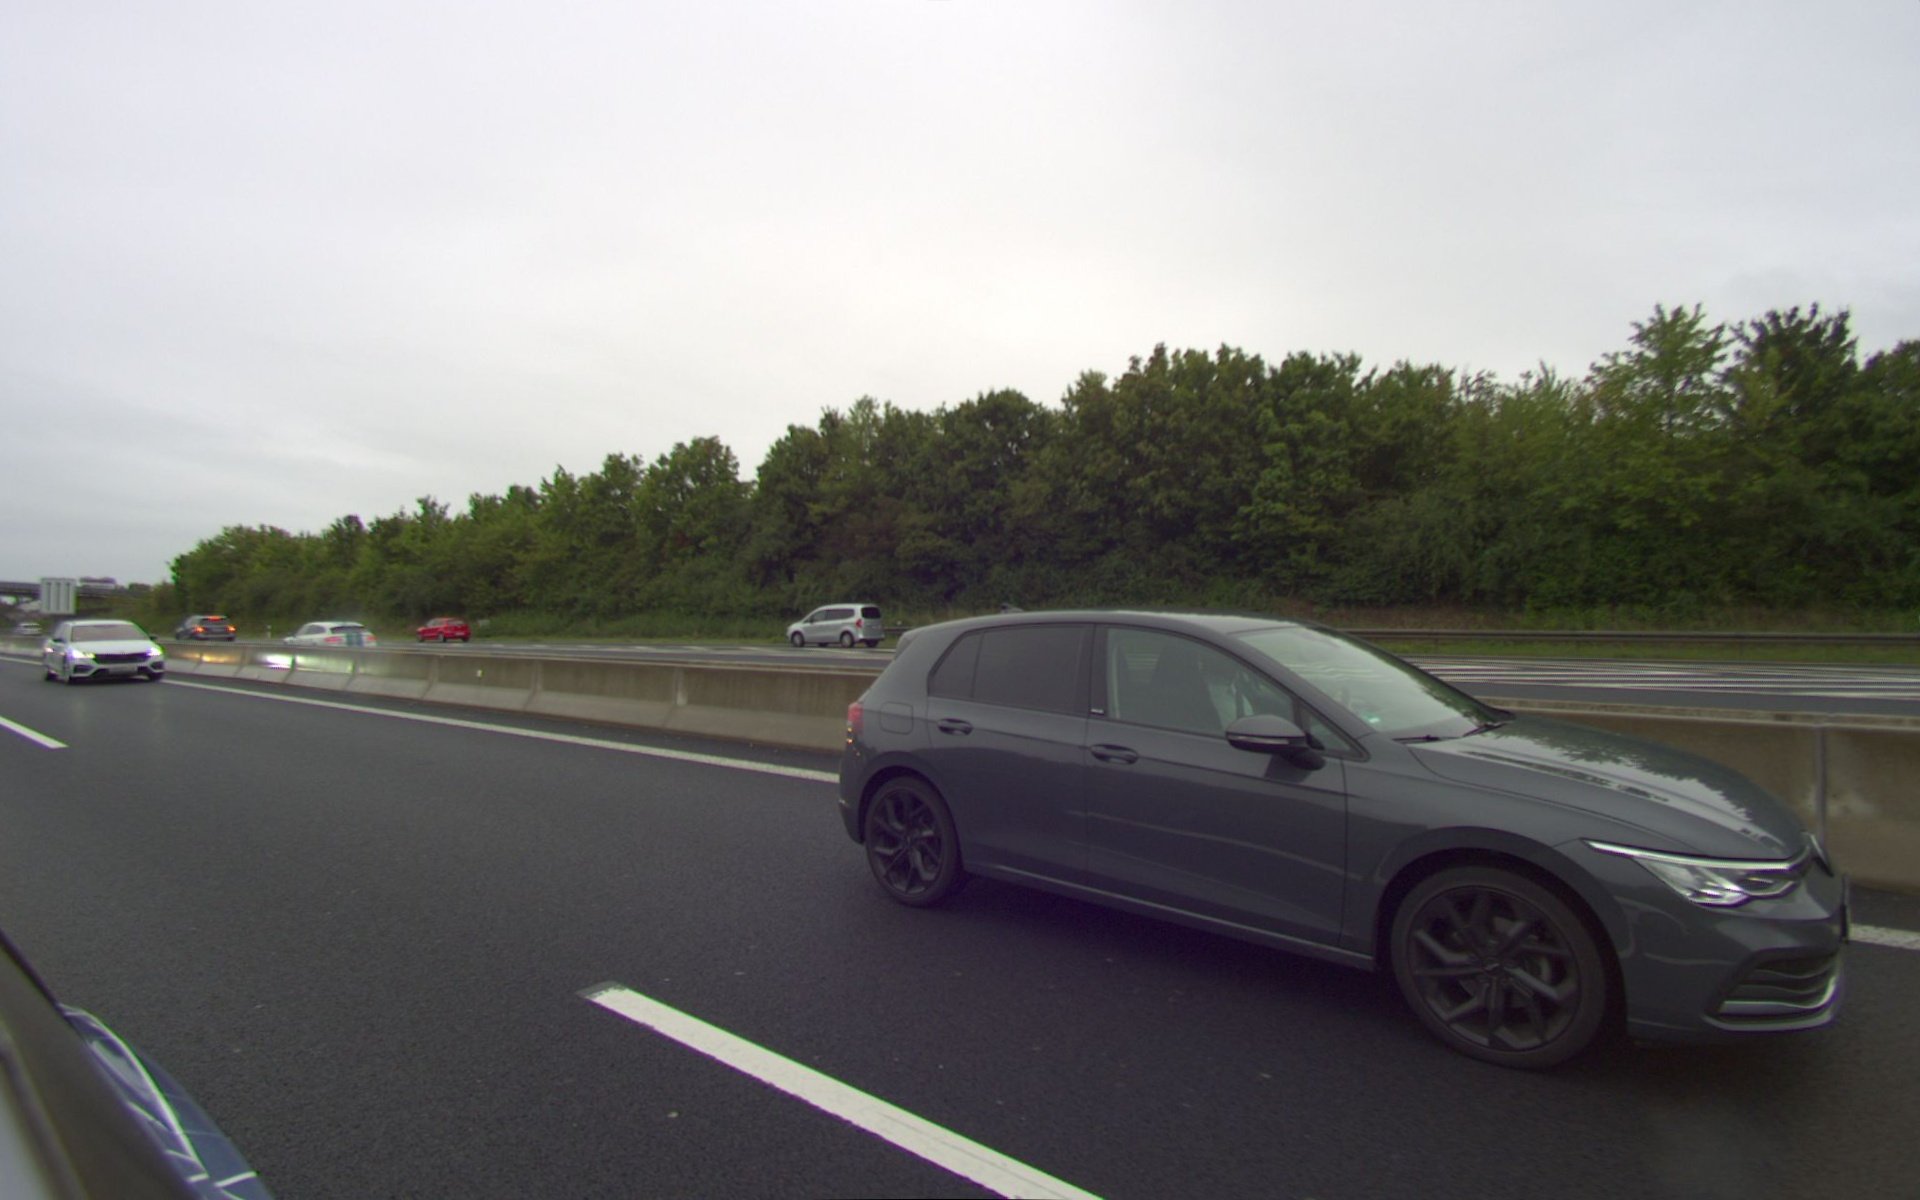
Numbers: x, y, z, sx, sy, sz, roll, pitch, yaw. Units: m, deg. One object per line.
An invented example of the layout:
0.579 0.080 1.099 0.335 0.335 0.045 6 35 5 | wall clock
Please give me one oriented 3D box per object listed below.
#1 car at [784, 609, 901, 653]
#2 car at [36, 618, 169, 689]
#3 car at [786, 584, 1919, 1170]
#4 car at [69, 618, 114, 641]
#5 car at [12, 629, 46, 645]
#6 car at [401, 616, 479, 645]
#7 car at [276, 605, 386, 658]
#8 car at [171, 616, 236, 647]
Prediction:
-4.912 1.281 42.151 4.554 1.708 2.163 -1 -1 33 | car
-20.561 1.226 24.202 4.113 1.518 1.880 -2 -2 42 | car
1.350 0.722 4.601 4.458 1.416 1.880 -2 -2 42 | car
-68.335 2.292 79.588 5.250 1.708 2.156 -2 -2 44 | car
-98.790 3.922 107.377 4.535 1.647 2.157 -2 -1 41 | car
-31.783 1.867 61.879 4.611 1.708 2.164 -1 -1 31 | car
-22.081 1.087 35.452 4.865 1.708 2.156 -2 -2 44 | car
-42.716 1.763 57.105 4.733 1.708 2.156 -2 -2 44 | car
